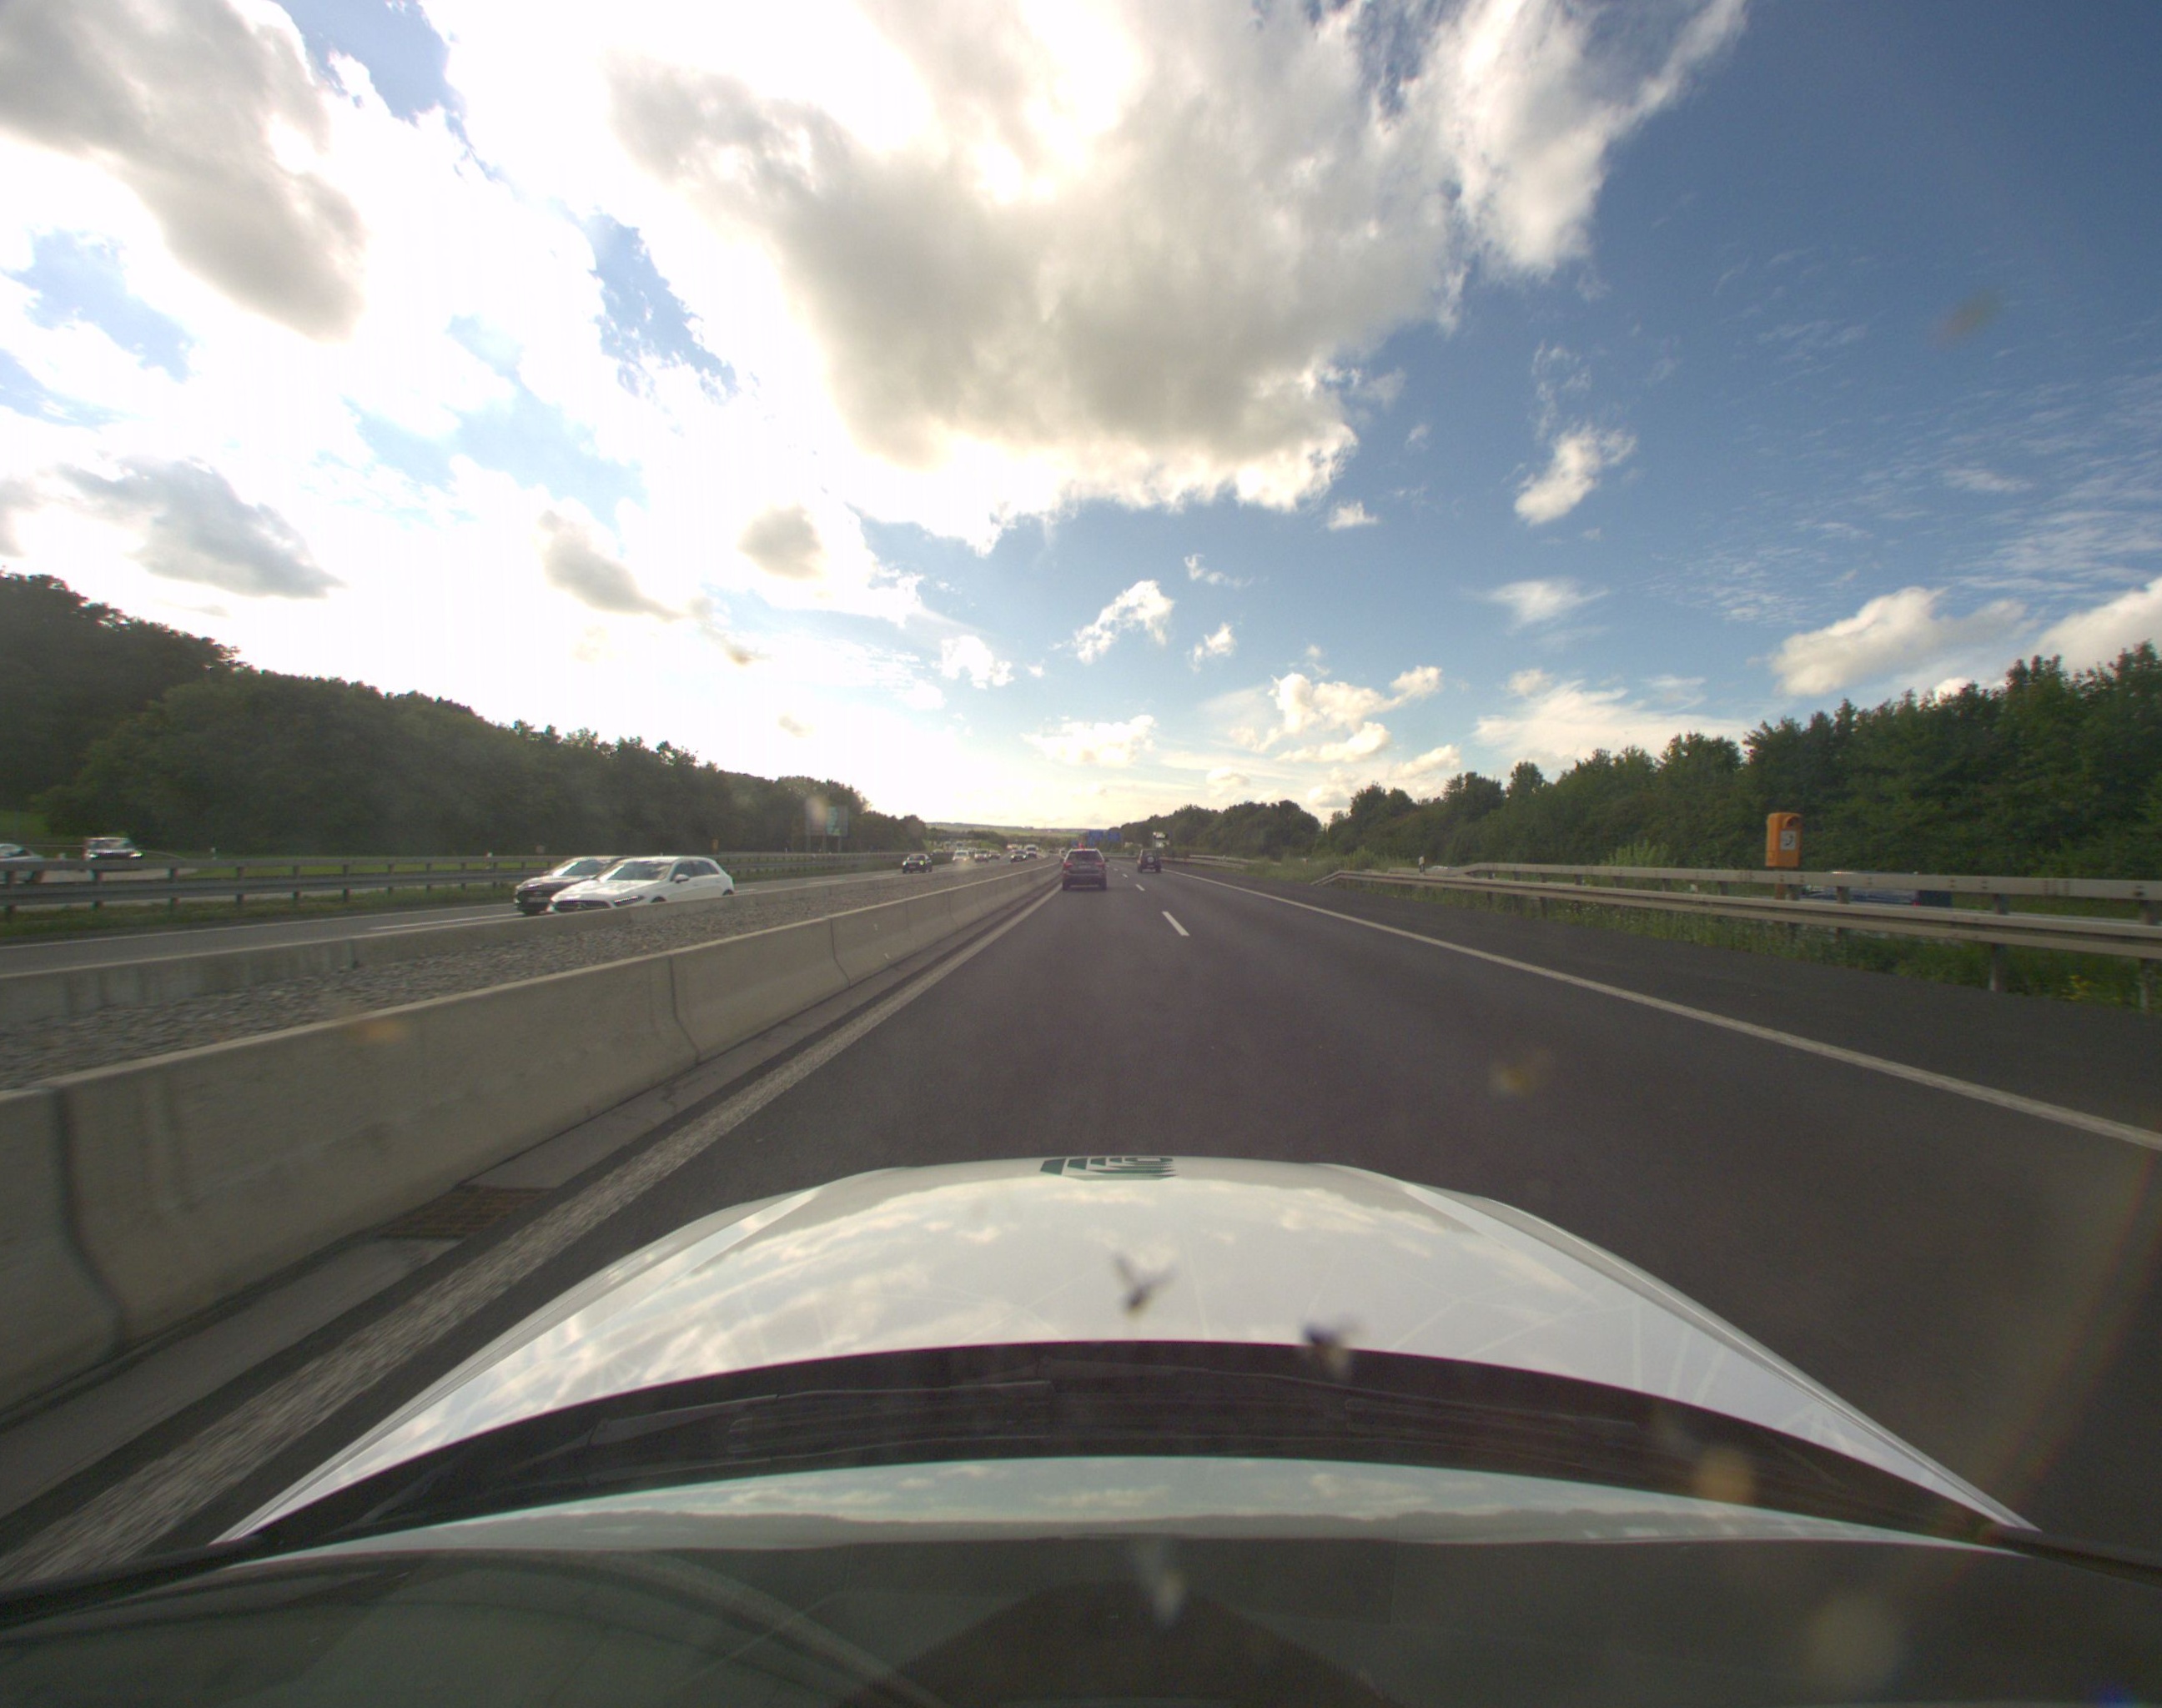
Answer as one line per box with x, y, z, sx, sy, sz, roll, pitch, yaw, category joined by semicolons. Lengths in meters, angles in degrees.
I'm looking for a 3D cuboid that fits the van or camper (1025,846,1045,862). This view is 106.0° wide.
-8.713;-0.065;155.713;3.324;2.916;7.465;0;0;0;van or camper

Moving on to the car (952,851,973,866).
-14.339;0.528;98.624;1.988;1.814;4.238;0;0;-2;car

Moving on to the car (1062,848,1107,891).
0.173;0.643;35.340;1.811;1.736;5.186;0;-1;1;car

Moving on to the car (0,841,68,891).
-37.565;0.401;27.772;1.947;1.672;5.176;0;0;-29;car

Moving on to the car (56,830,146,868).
-49.183;-0.251;40.849;5.176;1.771;2.417;1;0;35;car

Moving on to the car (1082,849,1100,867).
1.186;0.514;98.494;2.022;2.151;4.003;0;0;3;car

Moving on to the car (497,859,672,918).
-12.691;0.822;21.201;1.861;1.337;4.231;0;0;2;car

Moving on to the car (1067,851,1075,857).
-3.049;0.036;255.419;1.992;1.929;3.989;0;-2;-7;car

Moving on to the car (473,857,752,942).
-8.672;0.748;15.898;2.038;1.337;5.610;0;0;2;car

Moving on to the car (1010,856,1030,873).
-7.439;1.286;99.769;1.986;1.920;5.150;0;0;1;car

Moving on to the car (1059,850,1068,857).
-4.542;-0.091;206.981;1.990;1.684;3.992;0;-2;-5;car

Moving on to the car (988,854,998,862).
-16.046;0.722;148.867;1.783;1.417;4.985;0;0;-7;car

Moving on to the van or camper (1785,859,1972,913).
35.233;1.338;36.276;2.192;2.180;5.756;0;0;-11;van or camper

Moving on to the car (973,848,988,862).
-14.817;0.118;120.252;1.910;1.906;5.280;-1;0;-4;car

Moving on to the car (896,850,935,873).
-12.627;0.575;62.473;1.986;1.691;4.374;0;0;1;car

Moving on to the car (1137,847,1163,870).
5.068;0.317;60.468;1.582;1.597;4.095;0;0;0;car

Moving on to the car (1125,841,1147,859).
14.786;-1.006;219.247;4.718;4.266;11.390;0;-1;-3;car
